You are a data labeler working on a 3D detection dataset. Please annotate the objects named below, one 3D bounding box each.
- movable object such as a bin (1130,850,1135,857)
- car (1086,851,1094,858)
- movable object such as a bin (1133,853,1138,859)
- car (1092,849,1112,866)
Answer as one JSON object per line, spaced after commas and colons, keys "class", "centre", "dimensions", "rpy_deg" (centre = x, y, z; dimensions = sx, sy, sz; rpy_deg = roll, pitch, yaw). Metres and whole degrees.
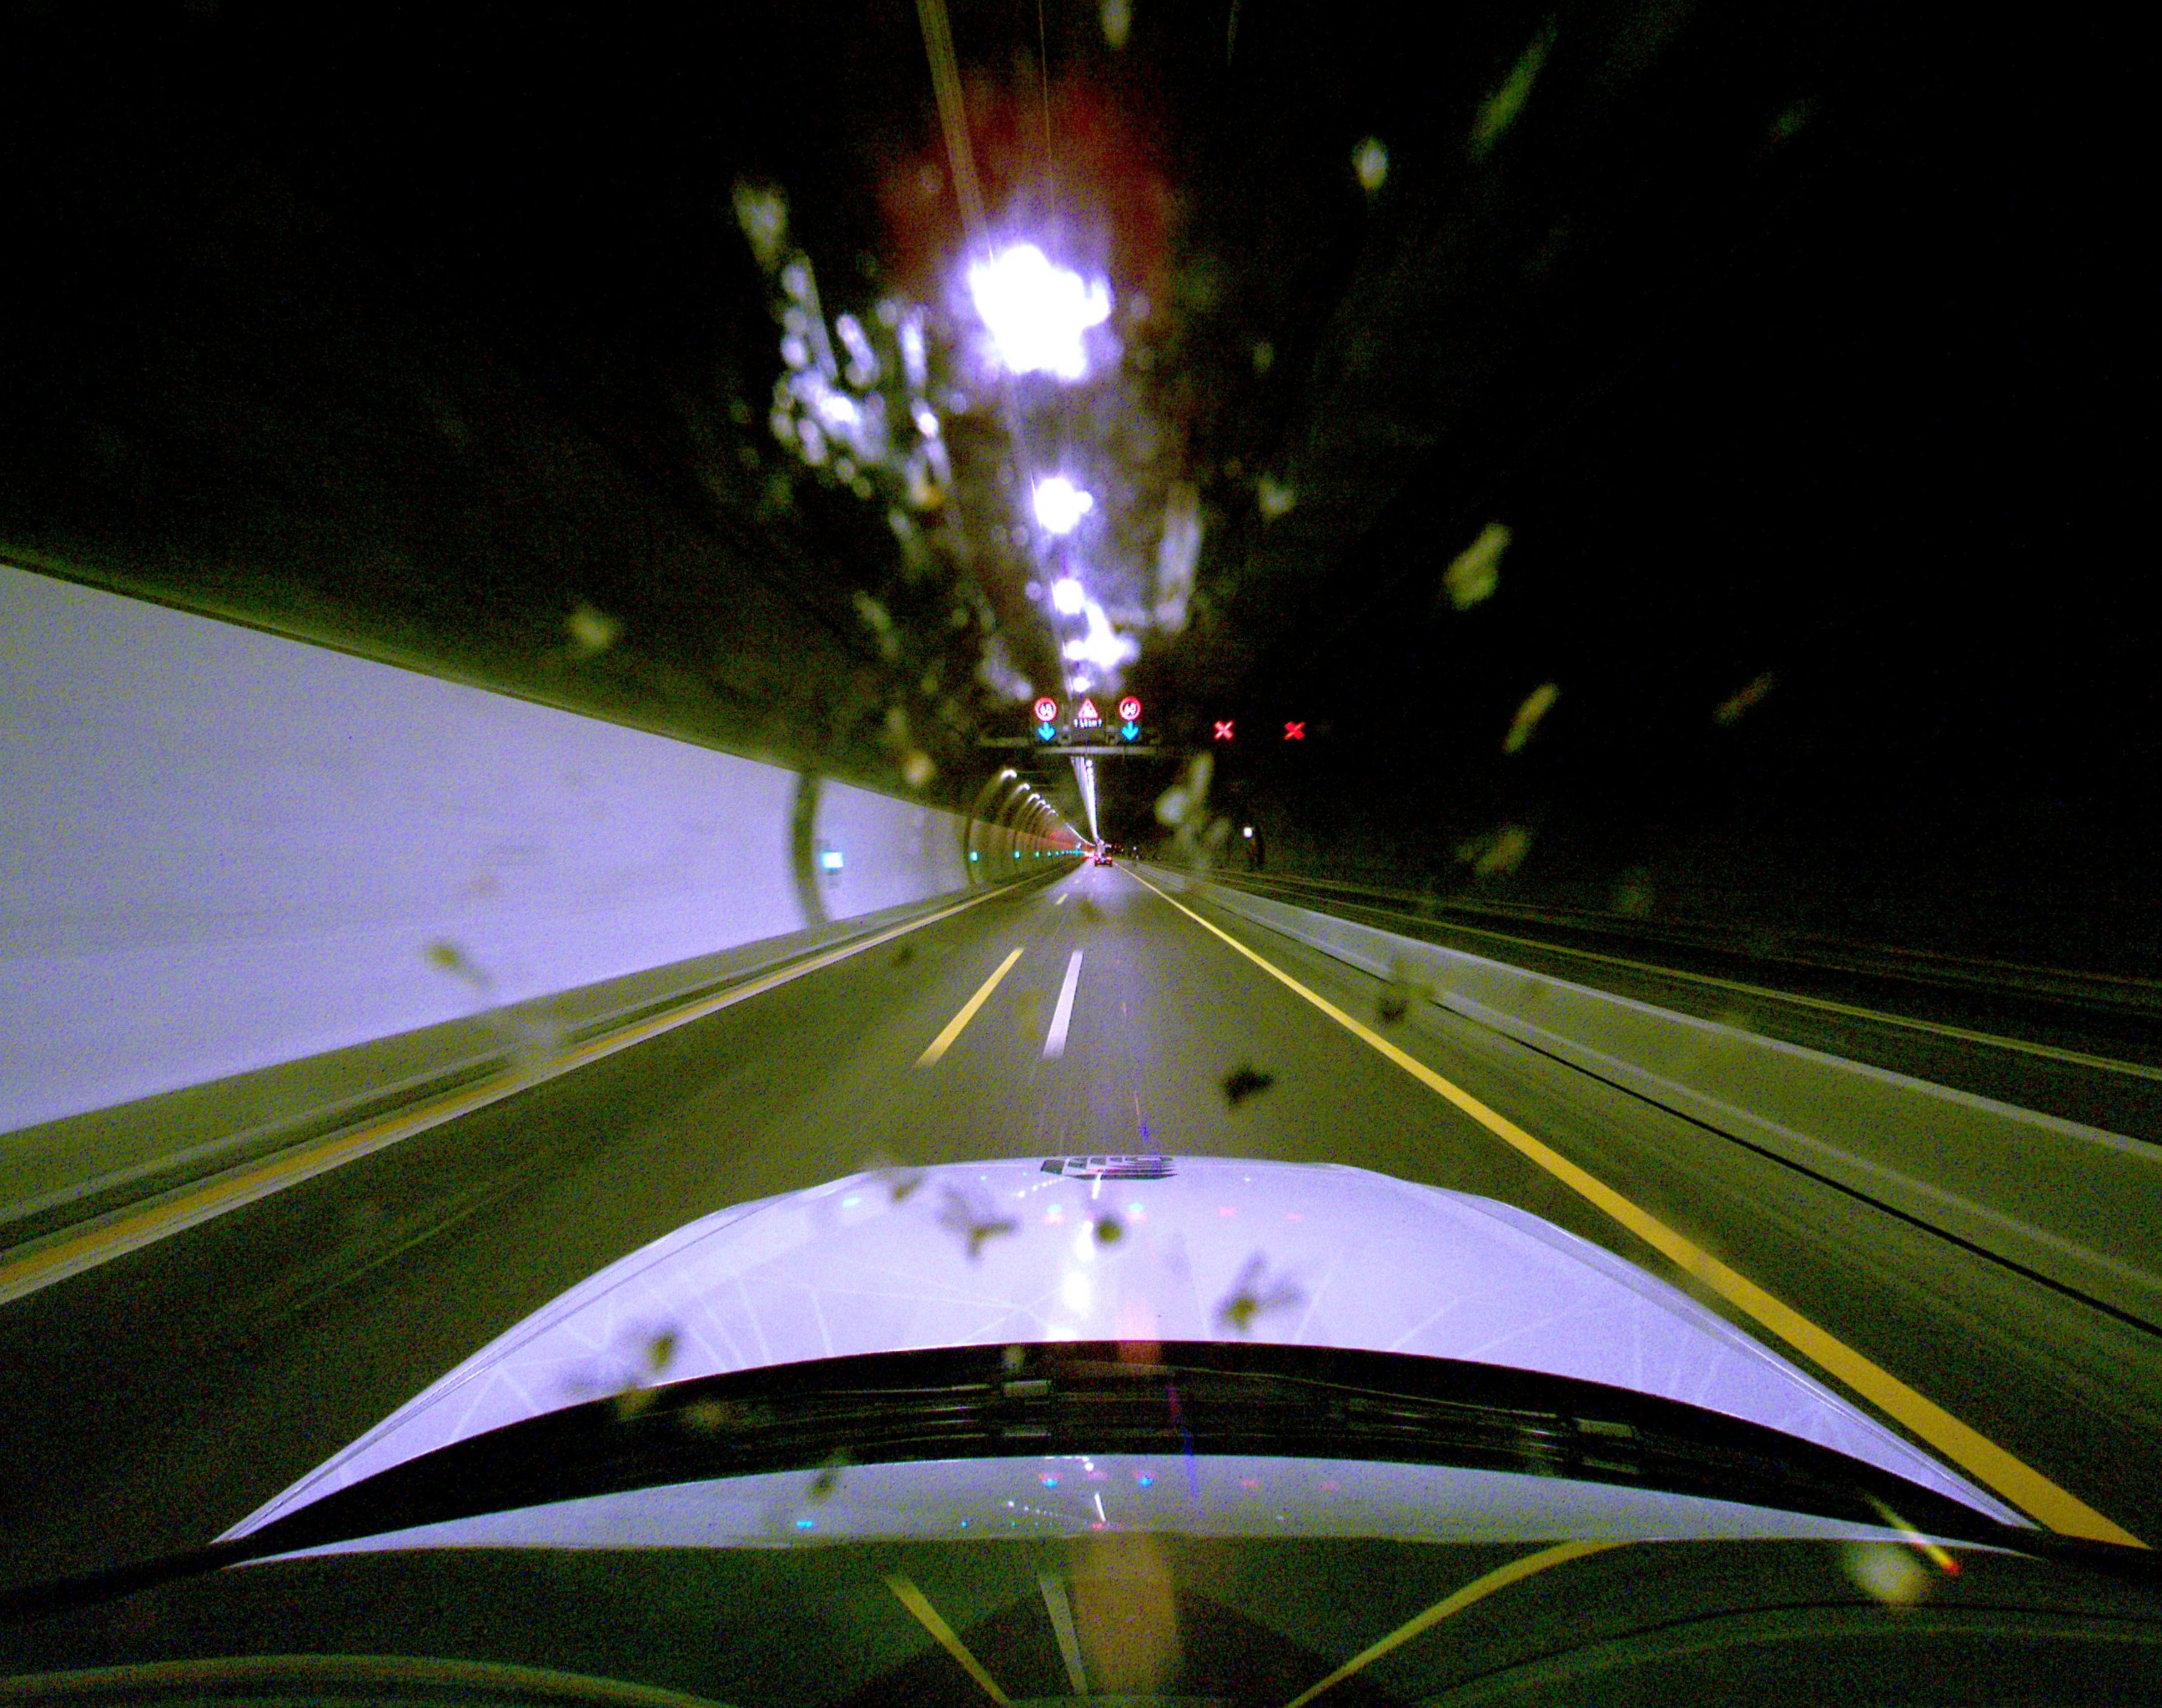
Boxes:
{"class": "movable object such as a bin", "centre": [12.985, -0.044, 204.916], "dimensions": [1.230, 1.718, 2.217], "rpy_deg": [1, 0, 1]}
{"class": "car", "centre": [2.252, 0.186, 195.866], "dimensions": [1.923, 1.687, 4.001], "rpy_deg": [-1, 0, 1]}
{"class": "movable object such as a bin", "centre": [12.936, 0.381, 193.558], "dimensions": [1.230, 1.442, 2.217], "rpy_deg": [1, 0, 1]}
{"class": "car", "centre": [2.246, 0.363, 86.283], "dimensions": [1.941, 1.794, 3.998], "rpy_deg": [-1, 0, -1]}
